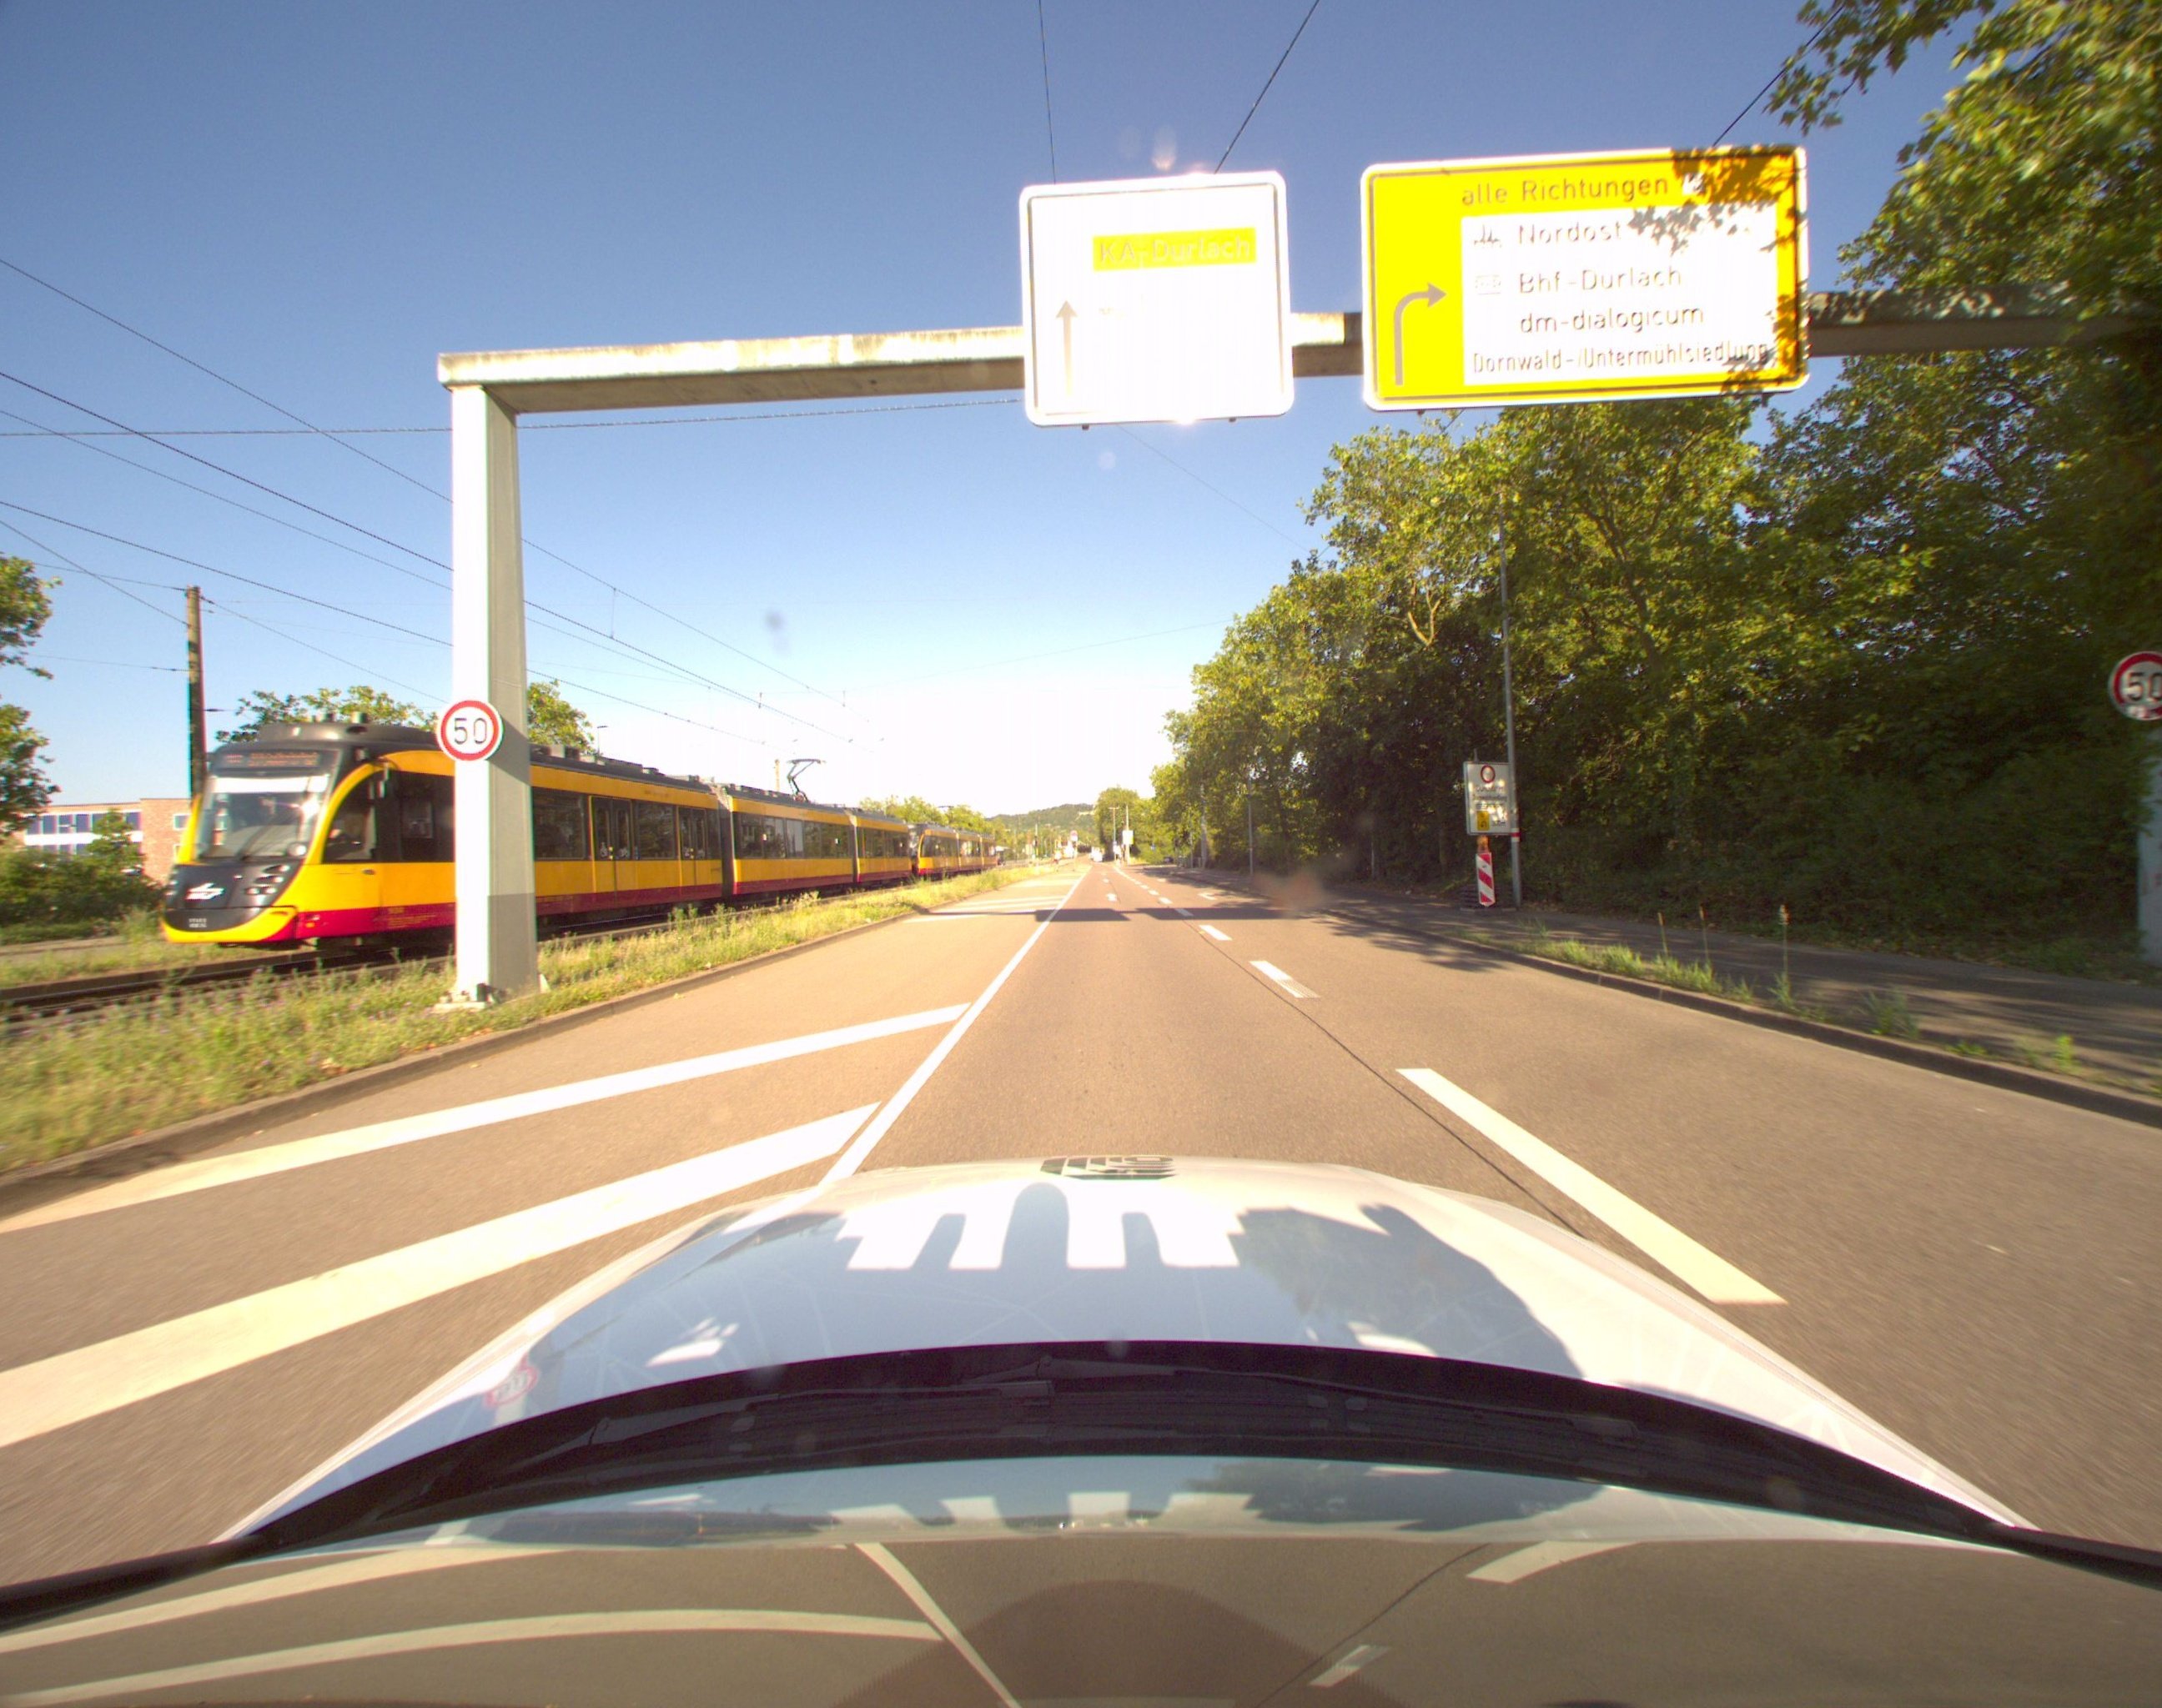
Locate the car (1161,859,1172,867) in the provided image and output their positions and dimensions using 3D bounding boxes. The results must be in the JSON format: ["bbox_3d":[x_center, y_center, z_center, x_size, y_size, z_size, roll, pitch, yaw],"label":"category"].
[{"bbox_3d":[16.958,1.724,161.981,2.075,1.566,3.963,0,0,7],"label":"car"}]

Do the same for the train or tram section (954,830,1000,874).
[{"bbox_3d":[-9.987,-0.160,79.431,2.814,3.950,10.836,0,0,1],"label":"train or tram section"}]

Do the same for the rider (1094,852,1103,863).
[{"bbox_3d":[4.313,0.760,201.978,2.098,2.647,0.738,-1,0,6],"label":"rider"}]

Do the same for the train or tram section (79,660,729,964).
[{"bbox_3d":[-11.384,-0.502,16.660,2.794,3.903,12.333,0,0,1],"label":"train or tram section"}]

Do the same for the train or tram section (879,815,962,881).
[{"bbox_3d":[-10.547,-0.328,55.002,2.814,3.950,12.709,0,0,1],"label":"train or tram section"}]

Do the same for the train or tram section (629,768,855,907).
[{"bbox_3d":[-11.171,-0.418,28.854,2.794,3.903,11.992,0,0,1],"label":"train or tram section"}]

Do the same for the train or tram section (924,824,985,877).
[{"bbox_3d":[-10.258,-0.241,67.699,2.814,3.950,12.656,0,0,1],"label":"train or tram section"}]

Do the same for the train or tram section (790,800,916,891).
[{"bbox_3d":[-10.964,-0.336,40.772,2.794,3.903,11.813,0,0,1],"label":"train or tram section"}]

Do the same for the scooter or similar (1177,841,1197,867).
[{"bbox_3d":[11.383,0.010,87.508,1.675,2.716,4.871,-1,0,2],"label":"scooter or similar"}]
